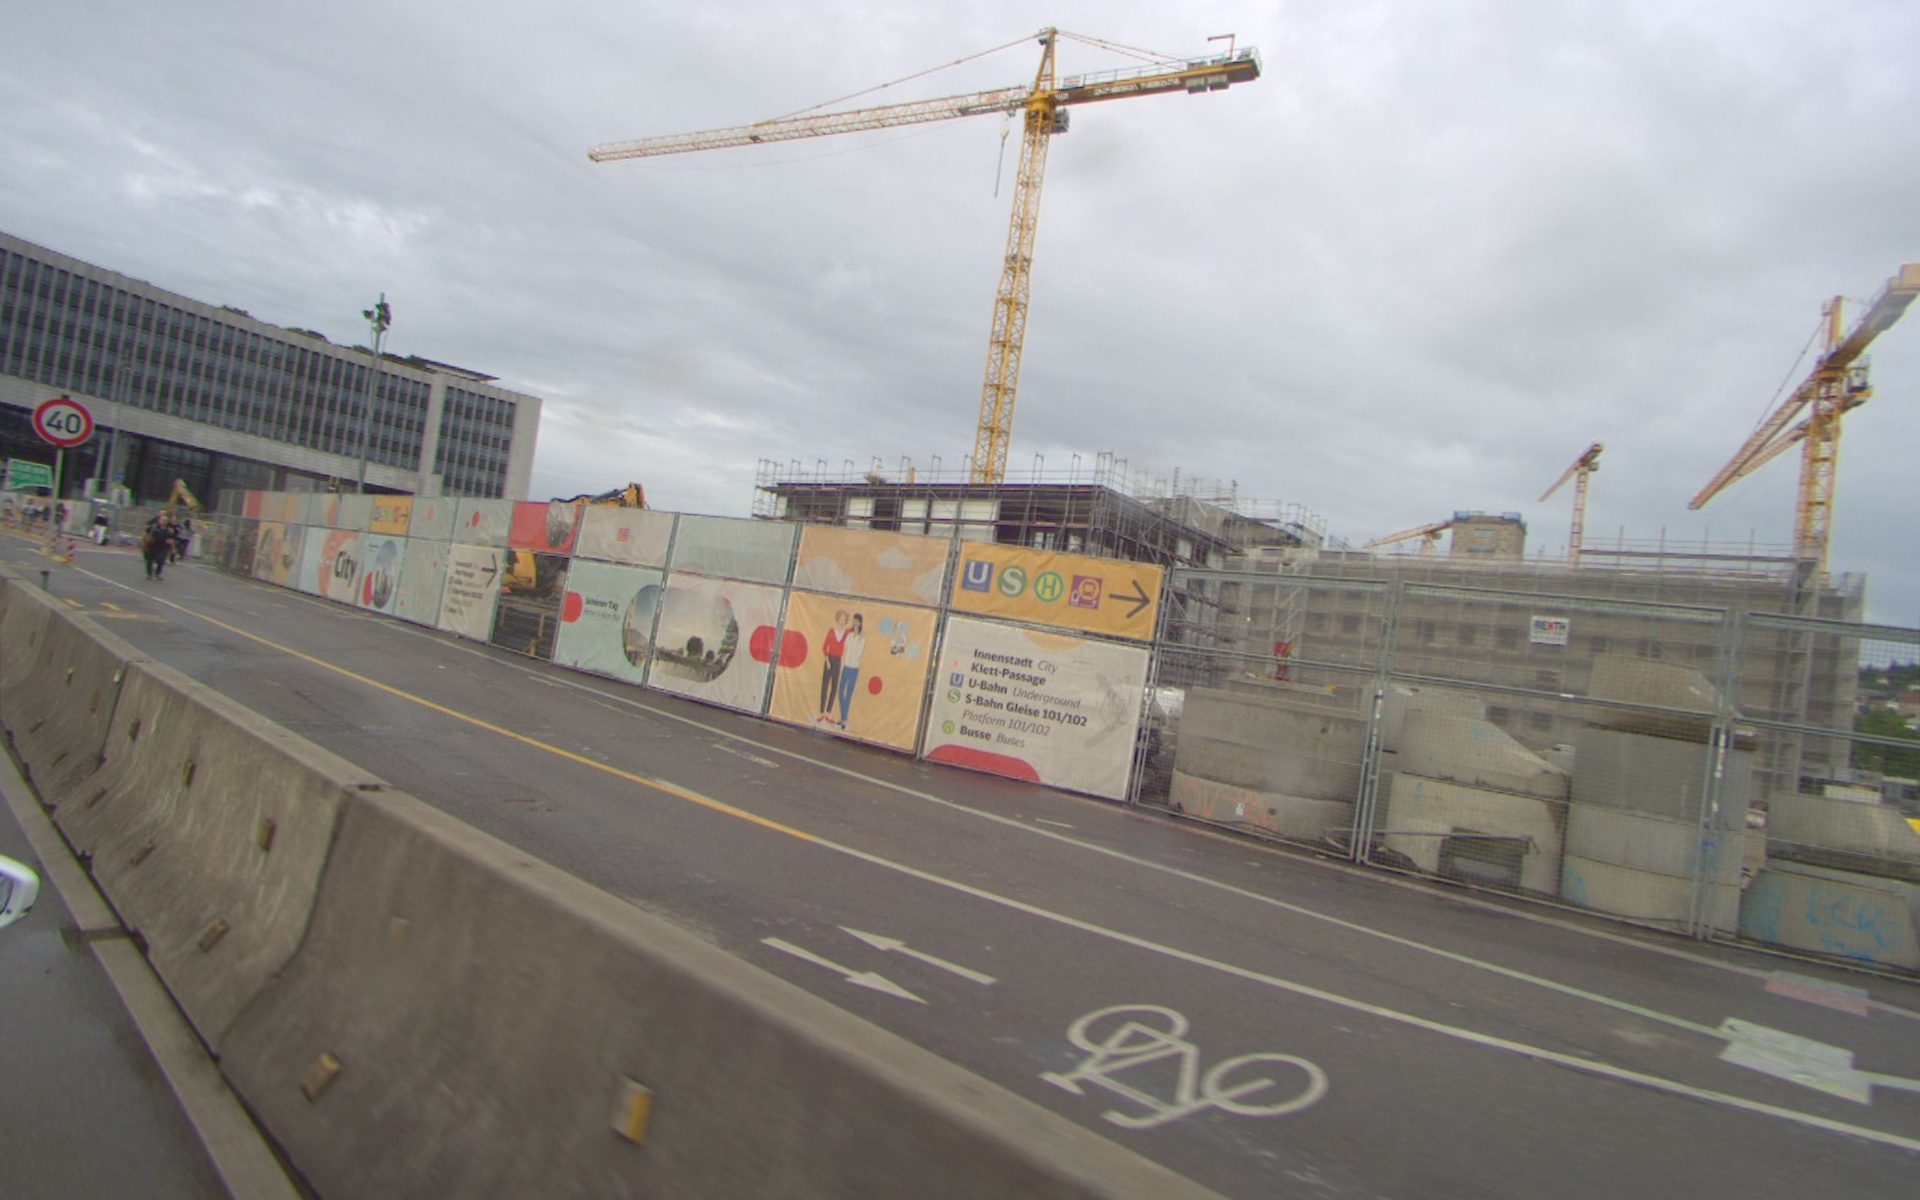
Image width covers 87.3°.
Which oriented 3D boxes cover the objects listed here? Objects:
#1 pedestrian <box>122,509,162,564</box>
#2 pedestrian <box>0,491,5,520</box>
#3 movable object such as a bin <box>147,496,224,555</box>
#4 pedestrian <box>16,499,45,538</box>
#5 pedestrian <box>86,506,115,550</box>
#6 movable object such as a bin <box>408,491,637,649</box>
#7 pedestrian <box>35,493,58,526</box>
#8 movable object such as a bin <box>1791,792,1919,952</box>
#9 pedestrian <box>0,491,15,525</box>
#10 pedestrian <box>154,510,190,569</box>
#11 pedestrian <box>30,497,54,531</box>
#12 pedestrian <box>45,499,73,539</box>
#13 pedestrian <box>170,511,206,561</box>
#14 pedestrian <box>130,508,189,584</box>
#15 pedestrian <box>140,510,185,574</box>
[{"bbox_3d":[-29.386,-2.282,36.137,0.617,1.854,0.795,7,-2,43],"label":"pedestrian"},{"bbox_3d":[-54.746,-5.282,56.774,0.934,1.882,0.871,8,-2,37],"label":"pedestrian"},{"bbox_3d":[-64.394,-6.189,83.665,3.627,4.074,3.102,8,-2,18],"label":"movable object such as a bin"},{"bbox_3d":[-49.202,-4.314,53.255,0.935,1.882,0.780,8,-2,37],"label":"pedestrian"},{"bbox_3d":[-39.421,-3.315,46.147,0.672,1.882,0.665,8,-2,37],"label":"pedestrian"},{"bbox_3d":[-12.051,-0.814,27.743,4.293,3.532,3.928,7,-2,40],"label":"movable object such as a bin"},{"bbox_3d":[-56.322,-5.575,62.024,0.799,1.884,0.779,8,-1,37],"label":"pedestrian"},{"bbox_3d":[10.760,3.115,11.318,1.181,1.488,1.873,10,-1,-41],"label":"movable object such as a bin"},{"bbox_3d":[-55.649,-5.372,58.425,1.042,1.882,0.780,8,-2,37],"label":"pedestrian"},{"bbox_3d":[-28.943,-2.227,36.944,0.677,2.037,0.678,9,-1,42],"label":"pedestrian"},{"bbox_3d":[-54.746,-5.148,59.993,0.819,1.874,0.733,7,-2,39],"label":"pedestrian"},{"bbox_3d":[-45.863,-4.133,51.189,0.799,1.882,0.690,8,-2,37],"label":"pedestrian"},{"bbox_3d":[-31.251,-2.583,40.714,0.672,1.882,0.787,8,-2,37],"label":"pedestrian"},{"bbox_3d":[-21.299,-1.439,26.776,0.677,1.854,0.924,7,-2,43],"label":"pedestrian"},{"bbox_3d":[-25.279,-1.840,31.885,0.809,1.898,0.795,7,-2,43],"label":"pedestrian"}]
